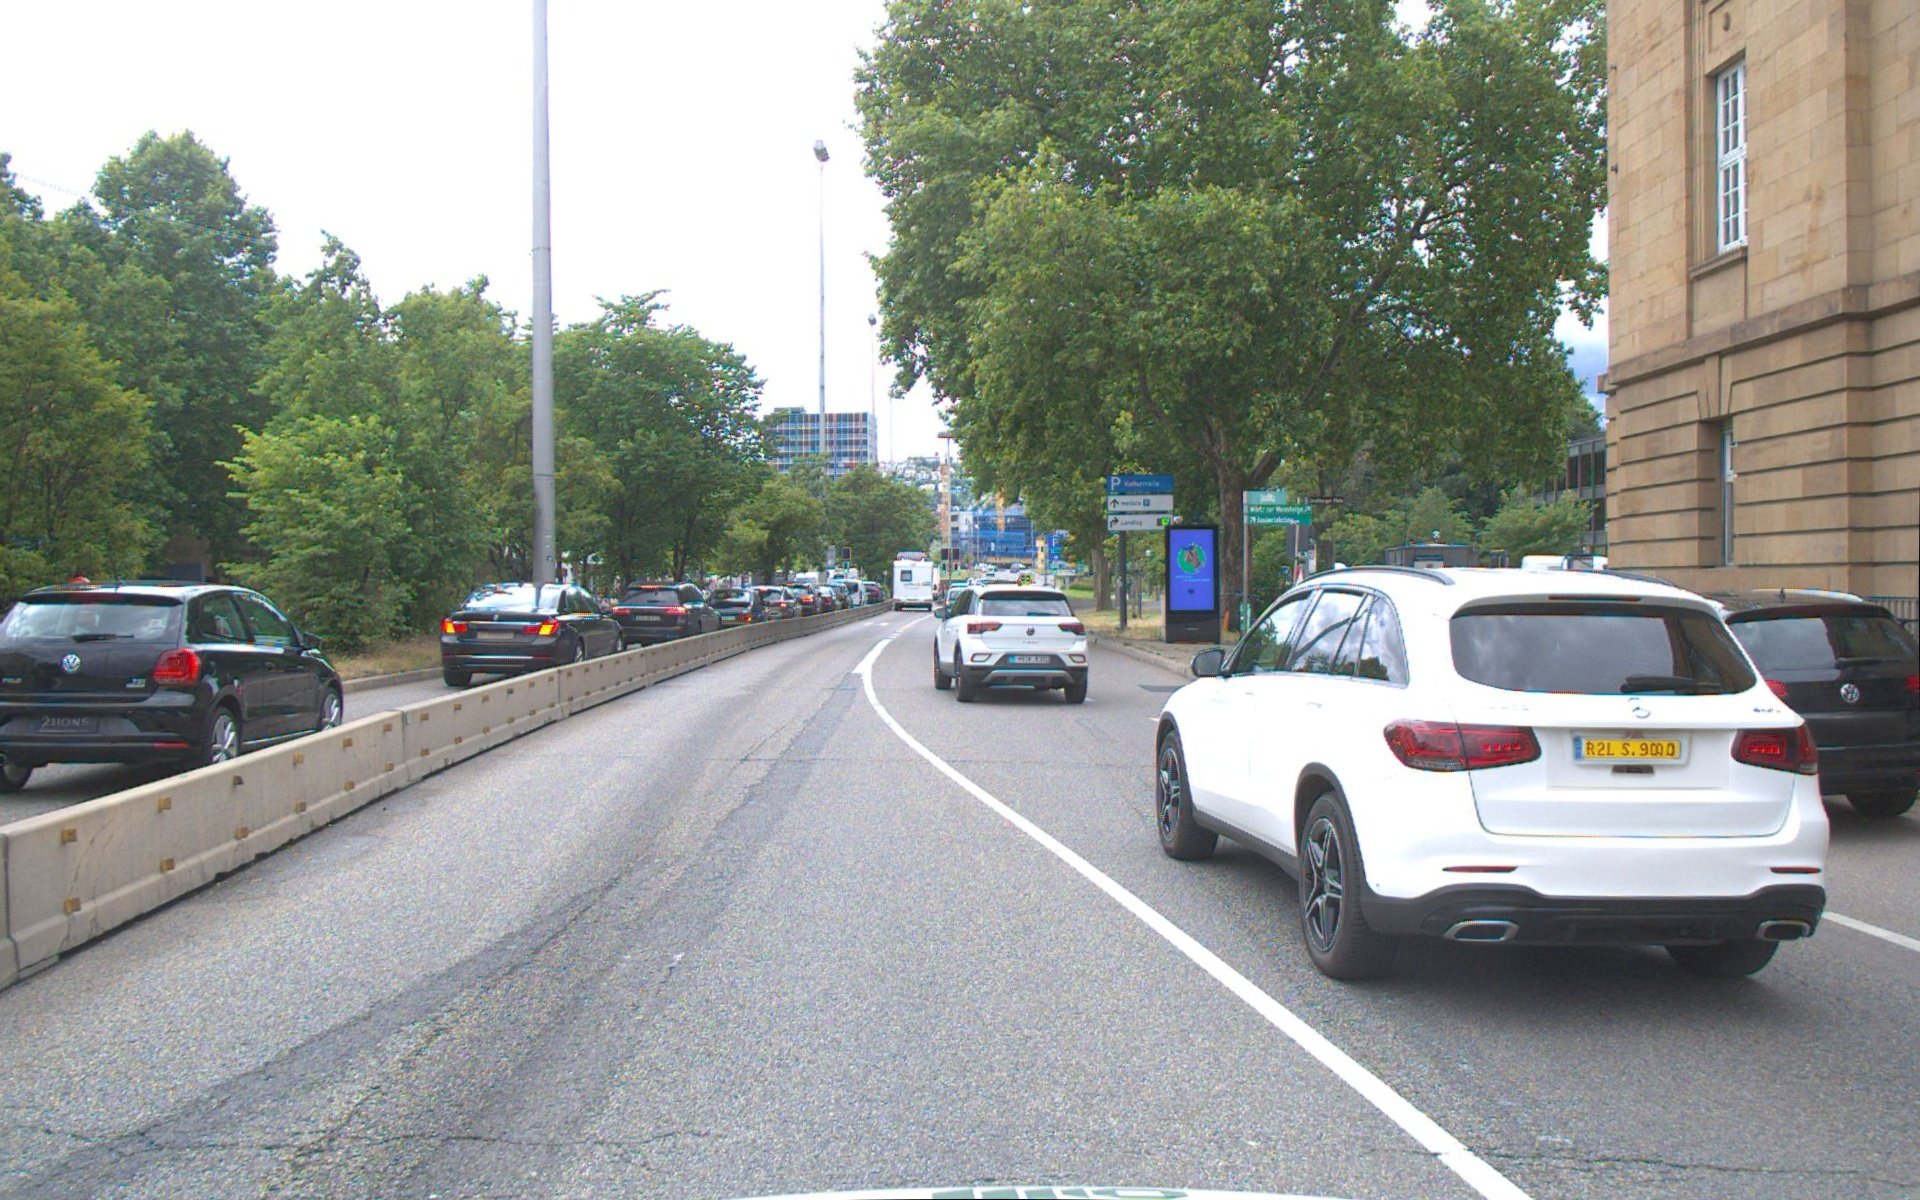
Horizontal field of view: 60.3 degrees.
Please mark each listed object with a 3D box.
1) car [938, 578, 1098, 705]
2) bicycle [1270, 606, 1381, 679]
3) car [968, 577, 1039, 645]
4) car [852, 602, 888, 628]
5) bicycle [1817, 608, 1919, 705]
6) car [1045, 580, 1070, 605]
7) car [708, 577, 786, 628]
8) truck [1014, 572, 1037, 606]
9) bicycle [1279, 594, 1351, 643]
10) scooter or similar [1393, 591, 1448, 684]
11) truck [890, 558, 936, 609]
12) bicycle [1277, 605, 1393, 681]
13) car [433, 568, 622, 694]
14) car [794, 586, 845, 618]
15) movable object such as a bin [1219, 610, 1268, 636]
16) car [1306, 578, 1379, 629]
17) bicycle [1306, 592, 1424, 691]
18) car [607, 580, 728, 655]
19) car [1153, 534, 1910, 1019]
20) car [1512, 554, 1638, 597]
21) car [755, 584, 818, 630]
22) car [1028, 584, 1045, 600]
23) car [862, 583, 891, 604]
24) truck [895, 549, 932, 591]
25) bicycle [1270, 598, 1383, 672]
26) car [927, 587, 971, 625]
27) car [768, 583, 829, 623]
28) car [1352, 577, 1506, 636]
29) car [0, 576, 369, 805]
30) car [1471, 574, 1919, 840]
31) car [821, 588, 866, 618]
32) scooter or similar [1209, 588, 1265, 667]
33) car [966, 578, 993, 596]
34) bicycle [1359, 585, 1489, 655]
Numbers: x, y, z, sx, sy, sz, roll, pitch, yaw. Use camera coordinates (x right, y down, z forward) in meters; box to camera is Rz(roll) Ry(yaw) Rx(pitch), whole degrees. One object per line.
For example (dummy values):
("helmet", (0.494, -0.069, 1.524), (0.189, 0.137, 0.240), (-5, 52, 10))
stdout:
("car", (0.730, 0.534, 23.202), (1.761, 1.636, 3.750), (1, 0, -5))
("bicycle", (5.849, 0.674, 26.491), (1.691, 1.110, 0.426), (1, 0, 13))
("car", (1.085, 0.271, 42.822), (1.626, 1.668, 3.546), (1, 0, -2))
("car", (-4.870, 0.789, 89.629), (1.625, 1.343, 3.548), (1, 0, 2))
("bicycle", (10.137, 0.597, 18.337), (0.235, 1.015, 1.962), (0, 0, 0))
("car", (8.125, -0.601, 138.344), (1.952, 2.049, 4.001), (1, 0, 2))
("car", (-6.118, 0.061, 47.834), (1.643, 1.391, 4.543), (0, 0, 0))
("truck", (8.236, -1.426, 208.553), (2.817, 4.175, 6.639), (1, 0, 2))
("bicycle", (9.066, 0.465, 42.237), (1.747, 1.242, 0.492), (0, 0, 3))
("scooter or similar", (6.631, 0.519, 23.859), (0.550, 1.301, 1.149), (1, 0, 6))
("truck", (-2.800, -0.963, 99.752), (2.567, 2.911, 7.078), (1, 0, 0))
("bicycle", (5.765, 0.648, 25.503), (1.691, 1.110, 0.575), (1, 0, 9))
("car", (-6.302, 0.414, 24.654), (1.886, 1.664, 4.931), (1, 0, -5))
("car", (-5.944, 0.083, 70.239), (1.624, 1.343, 3.549), (1, 0, 3))
("movable object such as a bin", (7.706, 0.623, 44.997), (1.271, 0.663, 0.729), (2, -1, 9))
("car", (13.328, 0.084, 57.846), (1.724, 1.579, 4.028), (0, 2, 1))
("bicycle", (5.514, 0.551, 22.517), (1.510, 1.278, 0.543), (1, 0, 19))
("car", (-6.337, 0.346, 36.334), (1.779, 1.525, 4.769), (0, 0, 0))
("car", (2.264, 0.606, 7.946), (1.753, 1.653, 4.432), (1, 0, -6))
("car", (33.489, -1.299, 90.161), (5.980, 2.300, 2.402), (0, 0, 2))
("car", (-5.669, 0.229, 54.407), (1.627, 1.461, 3.960), (1, 0, 0))
("car", (8.188, -0.894, 178.101), (1.722, 1.698, 4.168), (0, 1, 1))
("car", (-5.427, -0.411, 108.248), (1.625, 1.343, 3.548), (1, 0, 2))
("truck", (-3.573, -2.306, 127.529), (2.637, 3.044, 5.637), (2, 0, 0))
("bicycle", (5.730, 0.540, 25.902), (1.691, 1.110, 0.381), (1, 0, 13))
("car", (-0.415, 0.241, 64.577), (1.625, 1.438, 3.547), (1, 0, 0))
("car", (-6.035, 0.105, 62.201), (1.739, 1.445, 4.001), (0, 1, 2))
("car", (12.859, 0.170, 45.483), (3.757, 1.596, 1.679), (0, 0, 0))
("car", (-5.960, 0.582, 12.792), (1.627, 1.479, 4.192), (1, 0, -6))
("car", (5.310, 0.608, 11.900), (1.752, 1.512, 4.324), (-2, 0, -2))
("car", (-5.379, 0.125, 76.992), (1.624, 1.343, 3.549), (1, 0, 3))
("scooter or similar", (4.896, 0.471, 29.287), (0.711, 1.354, 1.413), (1, 0, -1))
("car", (1.483, -0.966, 125.199), (1.906, 1.343, 4.017), (1, 0, 2))
("bicycle", (6.380, 0.272, 22.755), (1.692, 0.933, 0.614), (0, 0, 19))
